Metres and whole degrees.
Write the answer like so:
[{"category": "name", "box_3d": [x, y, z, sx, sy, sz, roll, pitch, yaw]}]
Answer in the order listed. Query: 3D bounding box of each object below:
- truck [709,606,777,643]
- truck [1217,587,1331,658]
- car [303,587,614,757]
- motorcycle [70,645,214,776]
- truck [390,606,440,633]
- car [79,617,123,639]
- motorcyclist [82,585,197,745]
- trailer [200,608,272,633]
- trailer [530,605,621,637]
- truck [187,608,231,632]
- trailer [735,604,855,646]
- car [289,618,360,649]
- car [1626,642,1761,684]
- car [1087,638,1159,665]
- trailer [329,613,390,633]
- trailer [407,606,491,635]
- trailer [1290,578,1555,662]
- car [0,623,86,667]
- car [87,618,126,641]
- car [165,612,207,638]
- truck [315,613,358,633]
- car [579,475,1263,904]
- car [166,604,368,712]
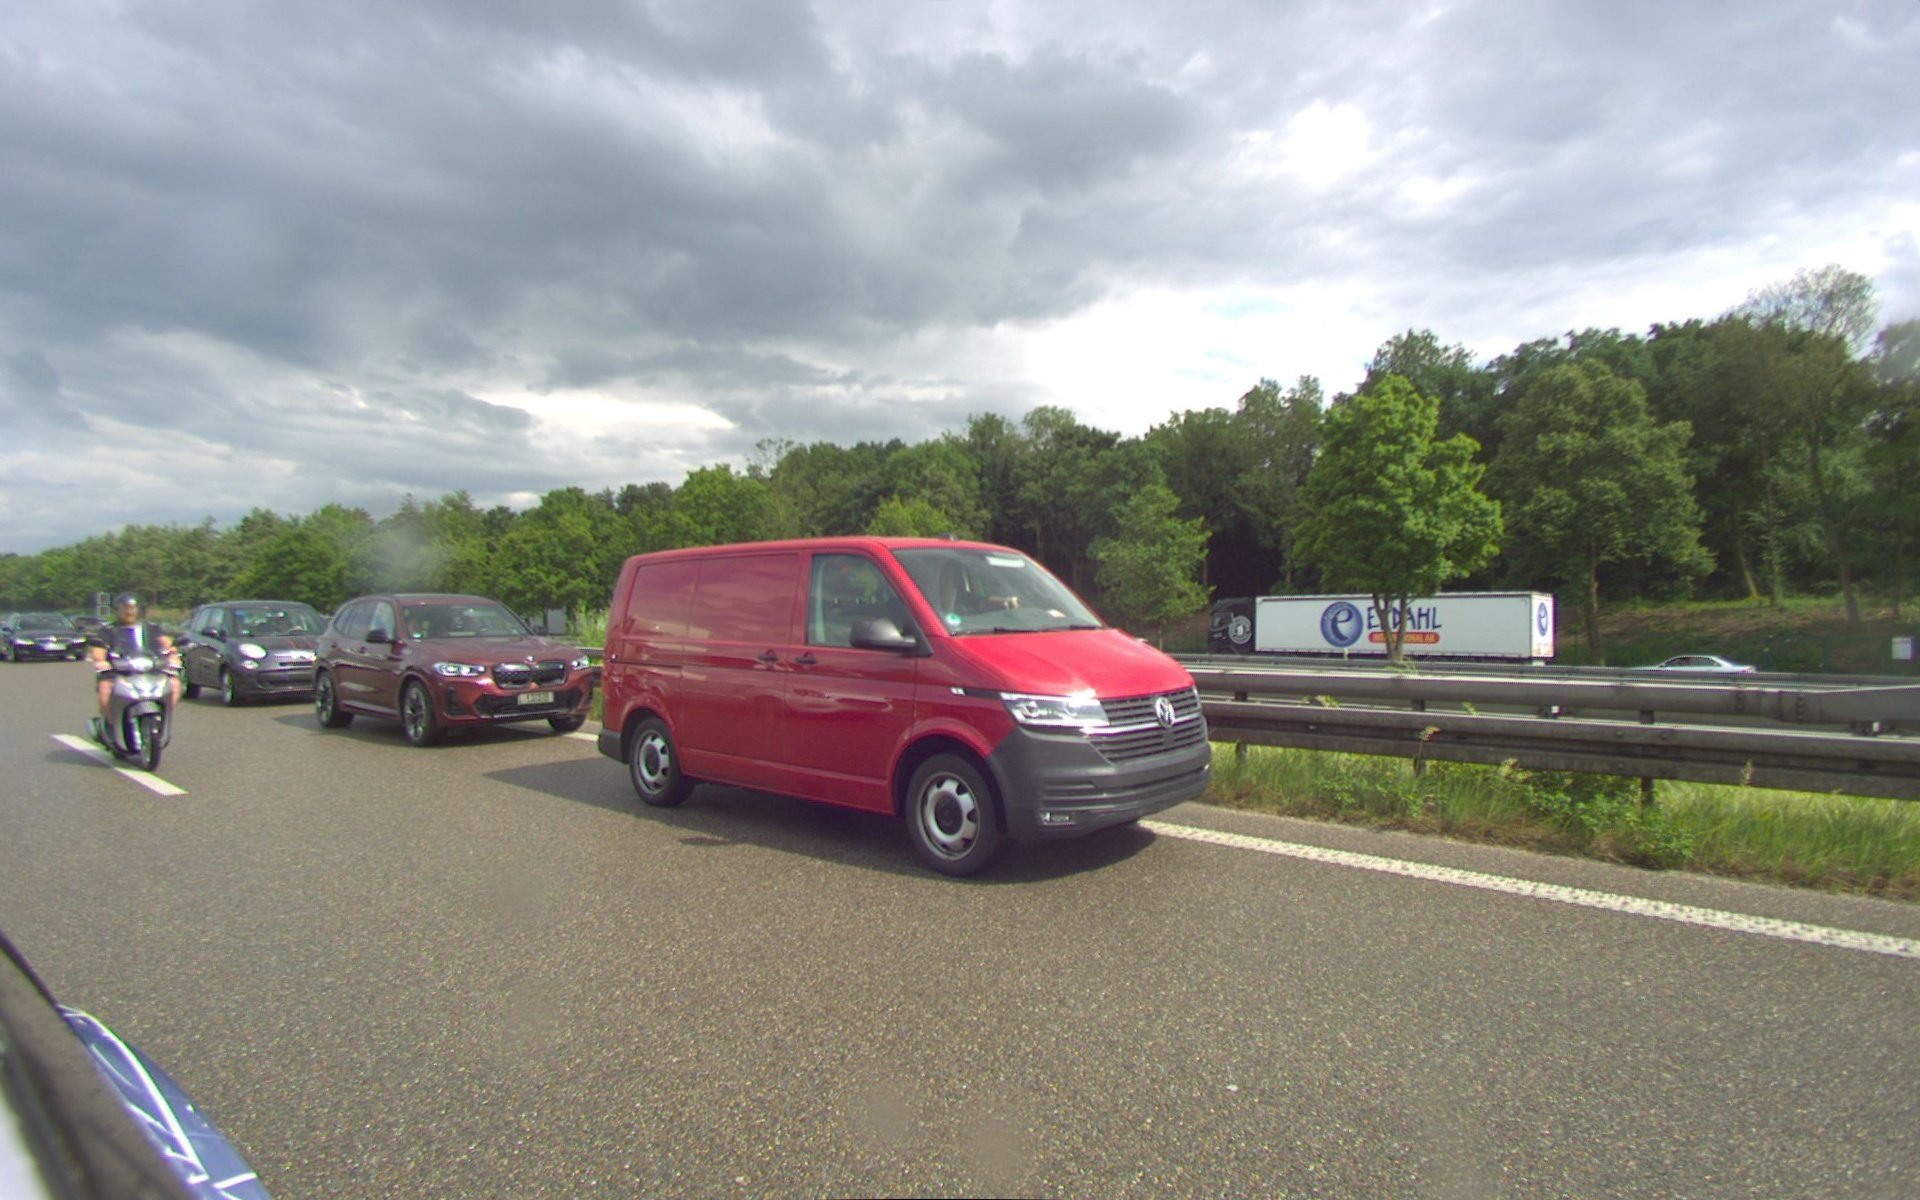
[{"category": "truck", "box_3d": [-19.457, 2.172, 90.449, 6.533, 3.275, 2.548, 0, -2, 41]}, {"category": "truck", "box_3d": [16.744, 1.210, 54.284, 2.136, 3.648, 5.586, 2, -2, -41]}, {"category": "car", "box_3d": [-6.138, 0.737, 12.173, 4.293, 1.682, 1.870, -1, -1, 41]}, {"category": "motorcycle", "box_3d": [-7.944, 1.007, 9.793, 1.979, 1.095, 0.669, -1, 0, 39]}, {"category": "truck", "box_3d": [-68.389, 2.482, 126.954, 6.083, 3.280, 3.046, 0, -2, 35]}, {"category": "car", "box_3d": [-59.888, 1.950, 70.518, 3.998, 1.464, 1.782, -1, -2, 41]}, {"category": "motorcyclist", "box_3d": [-7.937, 0.595, 9.787, 1.019, 1.453, 0.664, -1, 0, 39]}, {"category": "trailer", "box_3d": [-106.131, 2.928, 148.223, 13.356, 3.539, 2.681, 0, -2, 28]}, {"category": "trailer", "box_3d": [-41.173, 2.223, 107.962, 12.634, 3.296, 3.153, -1, -2, 39]}, {"category": "truck", "box_3d": [-112.381, 2.962, 151.466, 6.309, 3.509, 2.673, -1, -2, 27]}, {"category": "trailer", "box_3d": [-14.179, 2.104, 85.841, 12.642, 3.296, 2.577, -1, -2, 41]}, {"category": "car", "box_3d": [-32.018, 1.649, 50.920, 3.998, 1.464, 1.973, -1, -2, 41]}, {"category": "car", "box_3d": [28.947, 2.435, 40.003, 1.871, 1.514, 4.006, 2, -2, -41]}, {"category": "car", "box_3d": [9.969, 3.126, 62.091, 1.873, 1.514, 4.003, 2, -2, -44]}, {"category": "trailer", "box_3d": [-79.076, 3.006, 133.146, 9.841, 2.594, 2.511, 0, -1, 30]}, {"category": "trailer", "box_3d": [-61.907, 2.447, 122.445, 13.378, 3.296, 3.050, -1, -2, 35]}, {"category": "trailer", "box_3d": [21.712, 0.979, 48.608, 2.155, 3.627, 11.736, 2, -2, -41]}, {"category": "car", "box_3d": [-28.600, 1.349, 31.441, 3.998, 1.245, 1.653, -1, 0, 41]}, {"category": "car", "box_3d": [-75.962, 2.619, 90.048, 3.996, 2.029, 1.974, -1, -2, 39]}, {"category": "car", "box_3d": [-62.270, 1.980, 81.419, 3.998, 2.029, 1.973, 0, 0, 41]}, {"category": "truck", "box_3d": [-83.775, 3.033, 135.926, 5.965, 2.590, 2.496, 0, -1, 30]}, {"category": "car", "box_3d": [-0.564, 0.447, 7.002, 4.748, 2.000, 1.870, -1, -1, 41]}, {"category": "car", "box_3d": [-11.666, 0.880, 16.943, 4.052, 1.578, 1.870, -1, -1, 41]}]
